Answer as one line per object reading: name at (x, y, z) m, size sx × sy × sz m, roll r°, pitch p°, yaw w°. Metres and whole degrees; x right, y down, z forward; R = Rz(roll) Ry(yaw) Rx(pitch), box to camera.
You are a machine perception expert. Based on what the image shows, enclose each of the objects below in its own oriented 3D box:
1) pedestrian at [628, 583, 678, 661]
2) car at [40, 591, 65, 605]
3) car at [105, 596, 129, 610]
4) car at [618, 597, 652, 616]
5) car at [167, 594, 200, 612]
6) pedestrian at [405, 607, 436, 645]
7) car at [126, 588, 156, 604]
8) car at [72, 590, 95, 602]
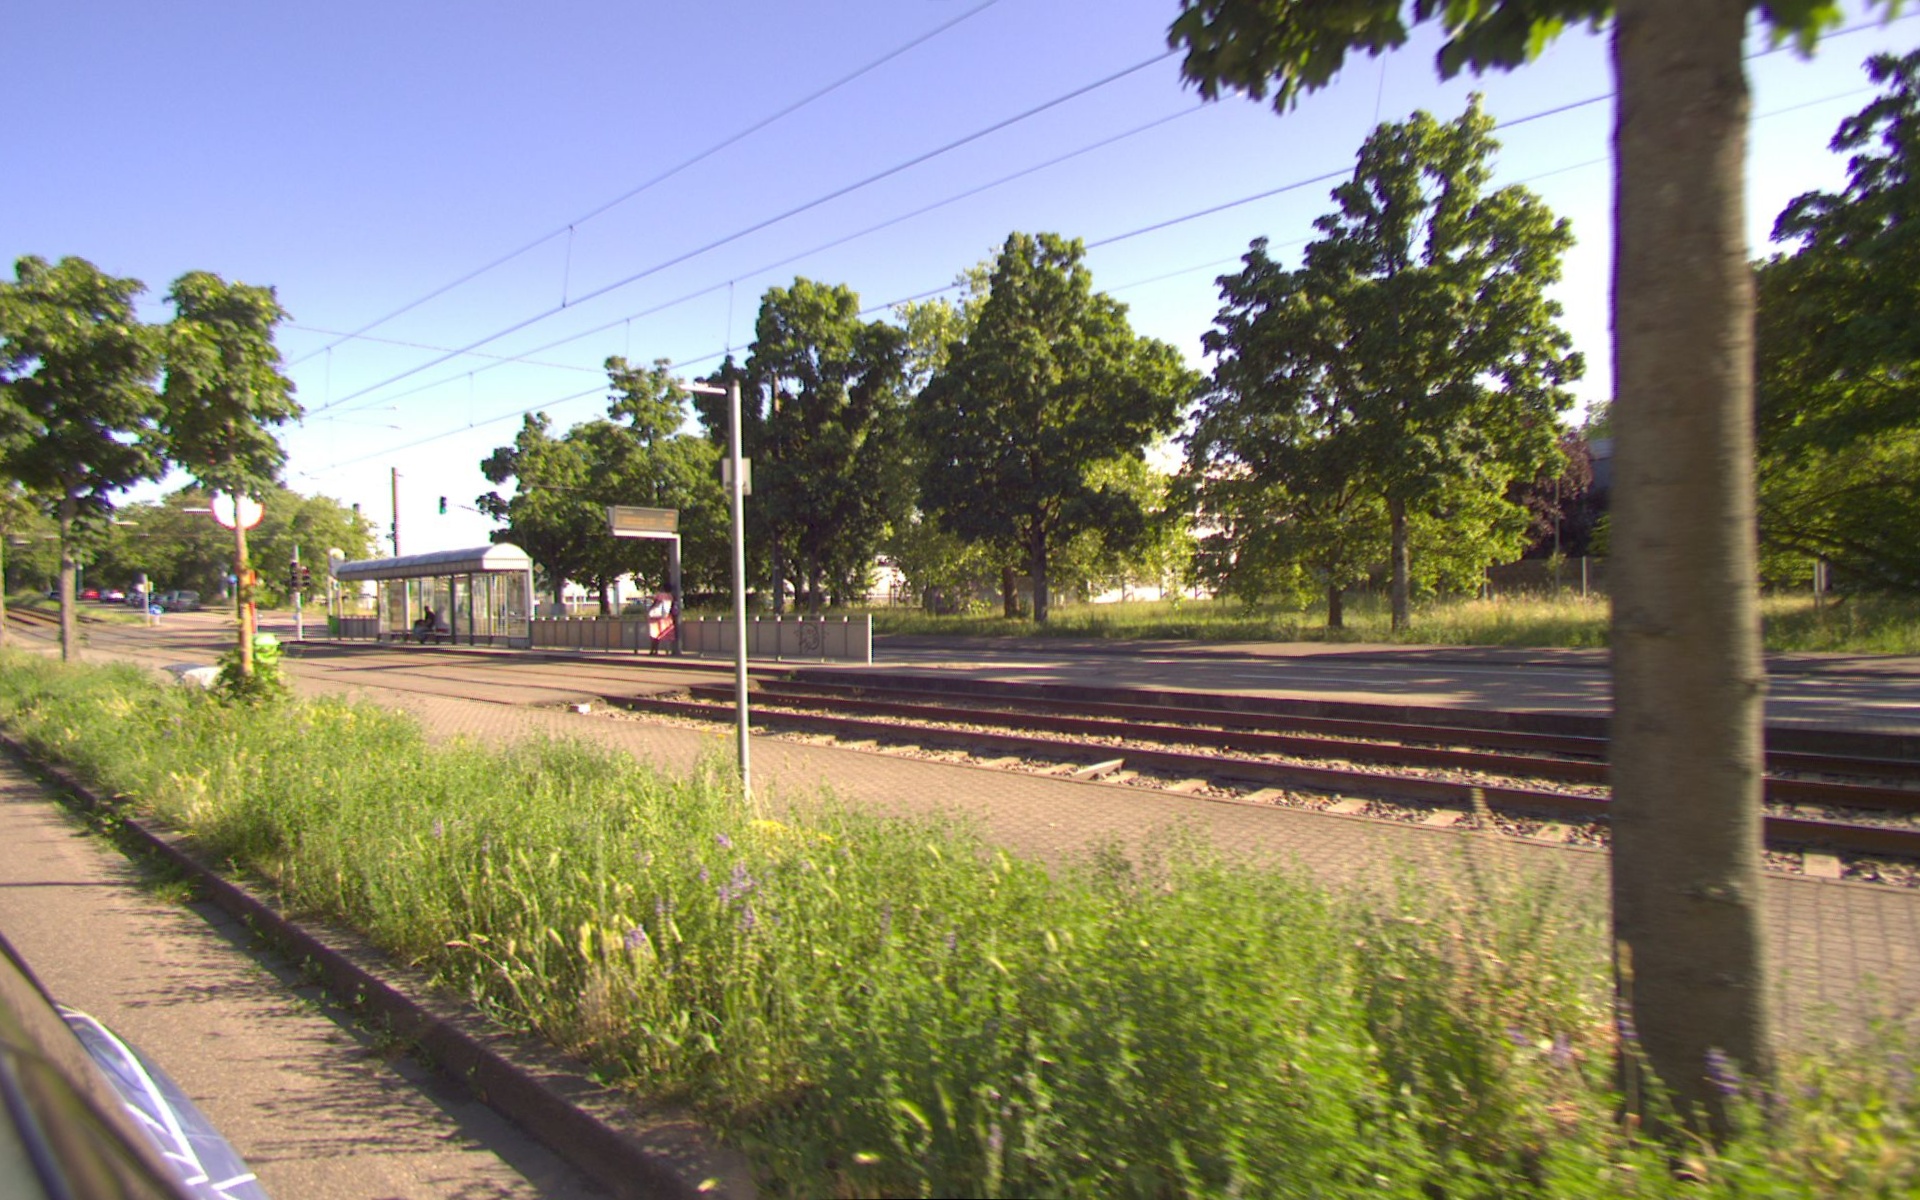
pedestrian at (-7.140, 0.493, 23.531) m, size 0.781 × 1.765 × 0.776 m, roll -1°, pitch 1°, yaw 40°
car at (-105.832, -0.230, 117.991) m, size 3.454 × 1.597 × 1.680 m, roll -1°, pitch -1°, yaw 40°
car at (-100.932, 0.390, 121.142) m, size 3.454 × 1.597 × 1.680 m, roll -1°, pitch -1°, yaw 40°
car at (-30.218, 0.588, 93.999) m, size 1.967 × 1.718 × 4.010 m, roll -2°, pitch 1°, yaw -34°
car at (-71.285, 0.308, 92.882) m, size 3.454 × 1.597 × 1.749 m, roll -1°, pitch -1°, yaw 40°
pedestrian at (-17.787, 0.860, 33.357) m, size 0.679 × 1.258 × 0.643 m, roll -1°, pitch -2°, yaw 32°
car at (-81.963, -0.377, 101.241) m, size 3.454 × 1.597 × 1.680 m, roll -1°, pitch -1°, yaw 40°
car at (-115.055, -0.536, 132.835) m, size 3.454 × 1.597 × 1.680 m, roll -1°, pitch -1°, yaw 40°
